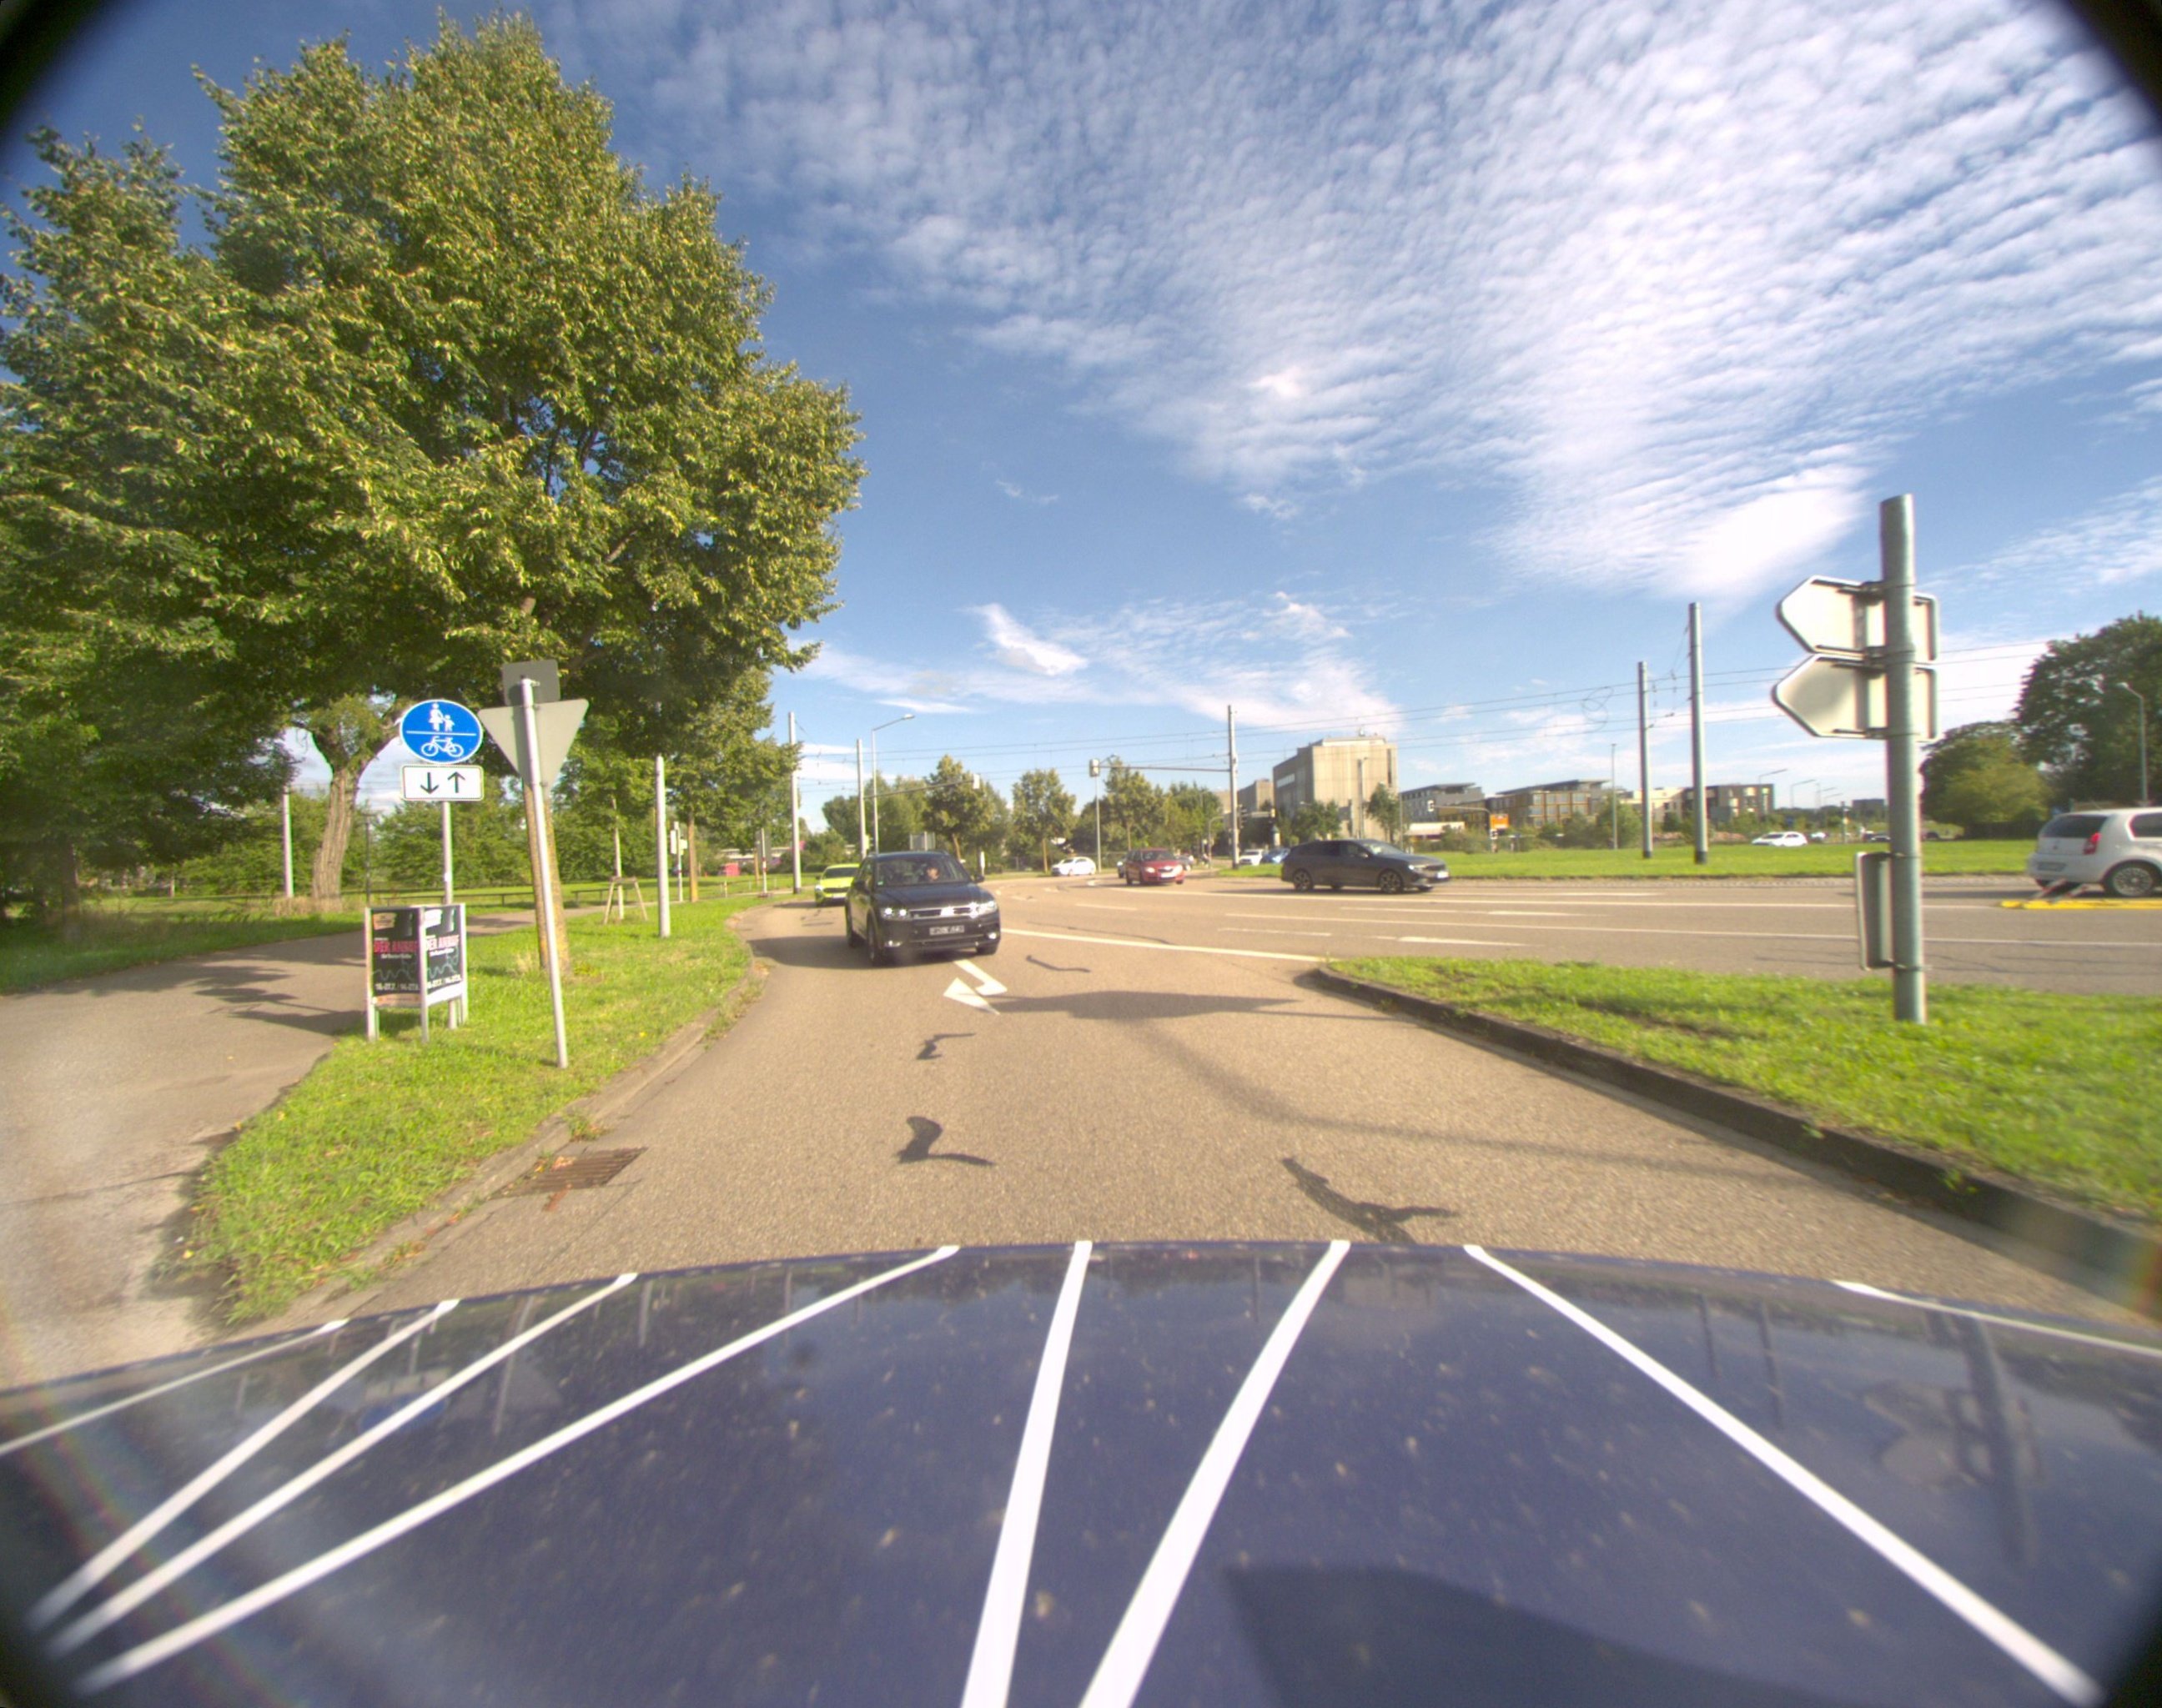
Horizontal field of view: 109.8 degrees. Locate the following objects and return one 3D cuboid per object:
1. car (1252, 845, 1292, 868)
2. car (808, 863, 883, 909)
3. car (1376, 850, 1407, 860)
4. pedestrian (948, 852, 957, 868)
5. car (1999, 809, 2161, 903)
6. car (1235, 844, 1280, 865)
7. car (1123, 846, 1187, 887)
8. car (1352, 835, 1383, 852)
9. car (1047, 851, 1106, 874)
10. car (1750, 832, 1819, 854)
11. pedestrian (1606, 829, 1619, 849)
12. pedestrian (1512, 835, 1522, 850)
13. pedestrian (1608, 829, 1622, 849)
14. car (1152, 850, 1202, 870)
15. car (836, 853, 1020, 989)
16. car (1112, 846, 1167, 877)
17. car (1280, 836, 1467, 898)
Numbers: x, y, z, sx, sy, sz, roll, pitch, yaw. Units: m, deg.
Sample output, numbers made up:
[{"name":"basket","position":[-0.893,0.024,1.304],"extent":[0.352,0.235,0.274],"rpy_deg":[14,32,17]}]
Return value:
[{"name":"car","position":[15.166,0.175,60.165],"extent":[1.995,1.652,4.811],"rpy_deg":[-2,1,28]},{"name":"car","position":[-8.429,1.080,27.580],"extent":[1.897,1.412,4.604],"rpy_deg":[-3,0,-10]},{"name":"car","position":[36.642,0.127,89.724],"extent":[1.685,1.258,3.992],"rpy_deg":[0,0,-6]},{"name":"pedestrian","position":[-13.598,0.642,80.672],"extent":[0.595,1.722,0.669],"rpy_deg":[-1,1,29]},{"name":"car","position":[18.240,-0.023,12.456],"extent":[3.651,1.456,1.769],"rpy_deg":[-2,1,22]},{"name":"car","position":[15.777,0.011,67.690],"extent":[1.994,1.652,4.812],"rpy_deg":[-2,1,37]},{"name":"car","position":[2.902,0.461,30.578],"extent":[1.694,1.466,4.224],"rpy_deg":[-3,0,-6]},{"name":"car","position":[39.180,-1.364,104.148],"extent":[2.064,2.250,6.024],"rpy_deg":[0,0,1]},{"name":"car","position":[-0.296,0.664,60.046],"extent":[1.994,1.652,4.812],"rpy_deg":[-1,1,40]},{"name":"car","position":[55.673,-0.856,60.160],"extent":[4.425,1.567,1.892],"rpy_deg":[-2,1,-14]},{"name":"pedestrian","position":[53.438,-1.487,76.352],"extent":[0.894,1.905,0.868],"rpy_deg":[-4,1,41]},{"name":"pedestrian","position":[48.118,-1.280,83.852],"extent":[0.628,1.620,0.658],"rpy_deg":[-3,0,4]},{"name":"pedestrian","position":[53.133,-1.461,75.592],"extent":[0.894,1.905,0.868],"rpy_deg":[-4,1,41]},{"name":"car","position":[8.763,0.538,69.099],"extent":[1.994,1.652,4.812],"rpy_deg":[-1,1,44]},{"name":"car","position":[-2.740,0.879,12.443],"extent":[1.875,1.685,5.005],"rpy_deg":[-2,1,-24]},{"name":"car","position":[3.295,0.375,42.087],"extent":[1.691,1.466,4.232],"rpy_deg":[-1,2,24]},{"name":"car","position":[7.780,0.342,20.613],"extent":[1.827,1.412,4.436],"rpy_deg":[-3,1,-35]}]
